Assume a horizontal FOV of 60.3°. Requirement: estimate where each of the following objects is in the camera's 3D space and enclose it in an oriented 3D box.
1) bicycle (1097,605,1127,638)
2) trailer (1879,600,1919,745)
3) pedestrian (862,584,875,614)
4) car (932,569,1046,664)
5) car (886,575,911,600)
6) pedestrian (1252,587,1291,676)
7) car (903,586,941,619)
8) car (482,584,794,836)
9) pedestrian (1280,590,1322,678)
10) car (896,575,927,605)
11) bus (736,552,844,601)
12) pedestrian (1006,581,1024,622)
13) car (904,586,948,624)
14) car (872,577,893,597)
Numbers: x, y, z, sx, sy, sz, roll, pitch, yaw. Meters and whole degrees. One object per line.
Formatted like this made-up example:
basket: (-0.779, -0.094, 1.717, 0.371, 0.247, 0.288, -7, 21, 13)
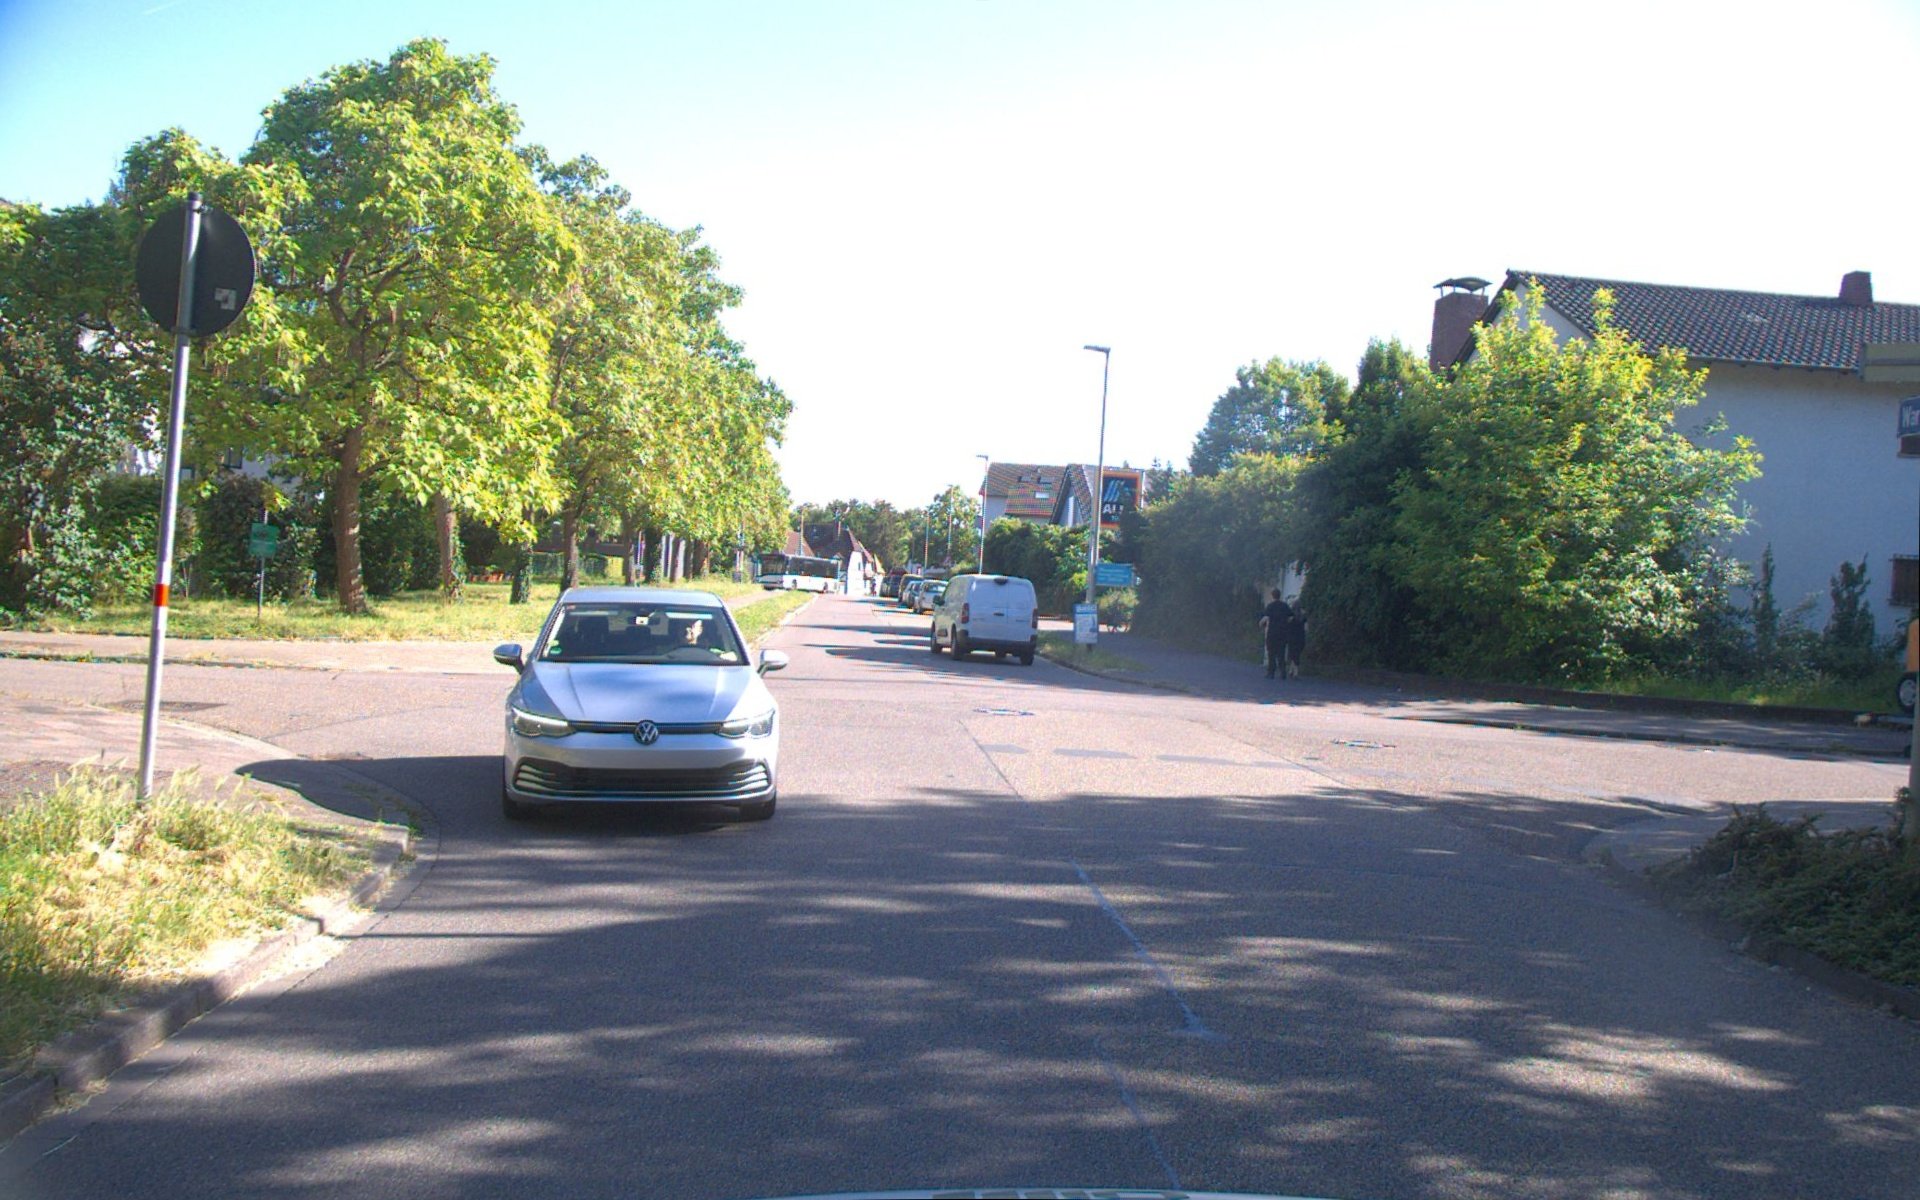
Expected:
bicycle: (5.186, 0.736, 56.429, 0.624, 1.044, 2.166, 5, 0, 14)
trailer: (15.705, 1.154, 24.823, 2.886, 2.153, 1.609, 3, 0, -6)
pedestrian: (-6.883, -0.088, 124.676, 0.737, 2.149, 0.799, 5, 0, -1)
car: (0.576, 0.327, 36.636, 1.910, 1.875, 3.994, 3, 0, -7)
car: (-4.981, -1.005, 133.306, 1.746, 1.840, 3.996, 3, 0, -5)
pedestrian: (6.165, 0.624, 32.753, 0.559, 1.712, 0.513, 3, 0, -8)
car: (-2.083, 0.126, 89.099, 1.746, 1.681, 3.996, 3, 0, -5)
car: (-2.275, 0.645, 11.703, 1.773, 1.445, 3.948, 2, 0, -12)
pedestrian: (6.802, 0.674, 33.004, 0.560, 1.712, 0.512, 3, 0, -14)
car: (-3.124, -0.628, 106.529, 1.746, 1.840, 3.996, 3, 0, -5)
bus: (-12.899, -1.733, 126.405, 3.983, 3.407, 9.798, 2, 1, 22)
pedestrian: (2.870, 0.077, 86.781, 0.630, 2.048, 0.699, 5, 0, -11)
car: (-1.617, 0.208, 77.761, 1.746, 1.681, 3.996, 3, 0, -5)
car: (-7.468, -1.214, 159.306, 1.746, 1.840, 3.996, 3, 0, -5)
